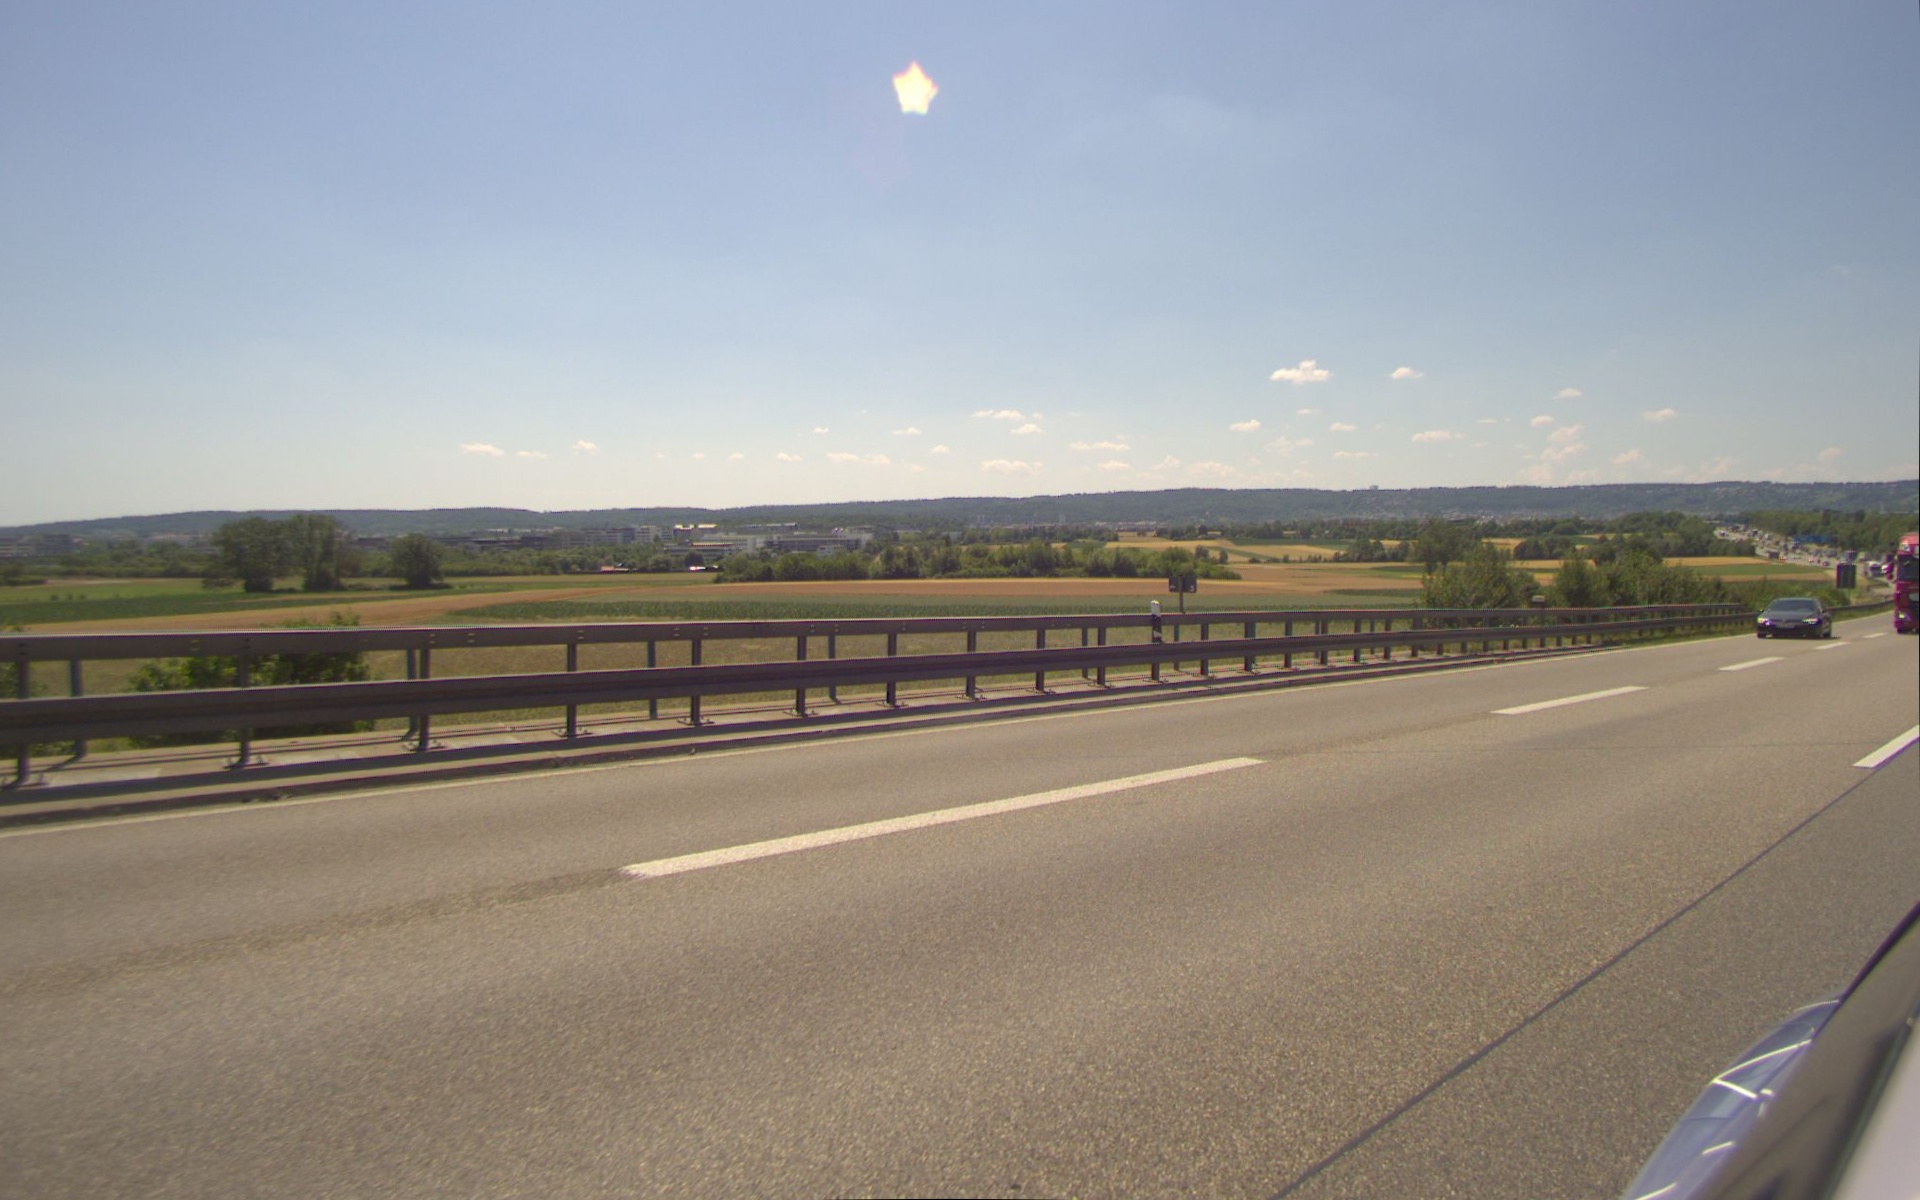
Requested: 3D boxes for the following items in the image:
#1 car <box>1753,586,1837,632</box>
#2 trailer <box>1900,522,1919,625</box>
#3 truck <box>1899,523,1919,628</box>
[{"bbox_3d":[30.093,0.293,36.443,2.032,1.571,3.936,0,0,45],"label":"car"},{"bbox_3d":[44.103,-1.276,45.085,2.919,4.169,13.640,-1,1,44],"label":"trailer"},{"bbox_3d":[39.891,-1.036,40.719,2.916,4.059,6.409,-1,1,44],"label":"truck"}]
